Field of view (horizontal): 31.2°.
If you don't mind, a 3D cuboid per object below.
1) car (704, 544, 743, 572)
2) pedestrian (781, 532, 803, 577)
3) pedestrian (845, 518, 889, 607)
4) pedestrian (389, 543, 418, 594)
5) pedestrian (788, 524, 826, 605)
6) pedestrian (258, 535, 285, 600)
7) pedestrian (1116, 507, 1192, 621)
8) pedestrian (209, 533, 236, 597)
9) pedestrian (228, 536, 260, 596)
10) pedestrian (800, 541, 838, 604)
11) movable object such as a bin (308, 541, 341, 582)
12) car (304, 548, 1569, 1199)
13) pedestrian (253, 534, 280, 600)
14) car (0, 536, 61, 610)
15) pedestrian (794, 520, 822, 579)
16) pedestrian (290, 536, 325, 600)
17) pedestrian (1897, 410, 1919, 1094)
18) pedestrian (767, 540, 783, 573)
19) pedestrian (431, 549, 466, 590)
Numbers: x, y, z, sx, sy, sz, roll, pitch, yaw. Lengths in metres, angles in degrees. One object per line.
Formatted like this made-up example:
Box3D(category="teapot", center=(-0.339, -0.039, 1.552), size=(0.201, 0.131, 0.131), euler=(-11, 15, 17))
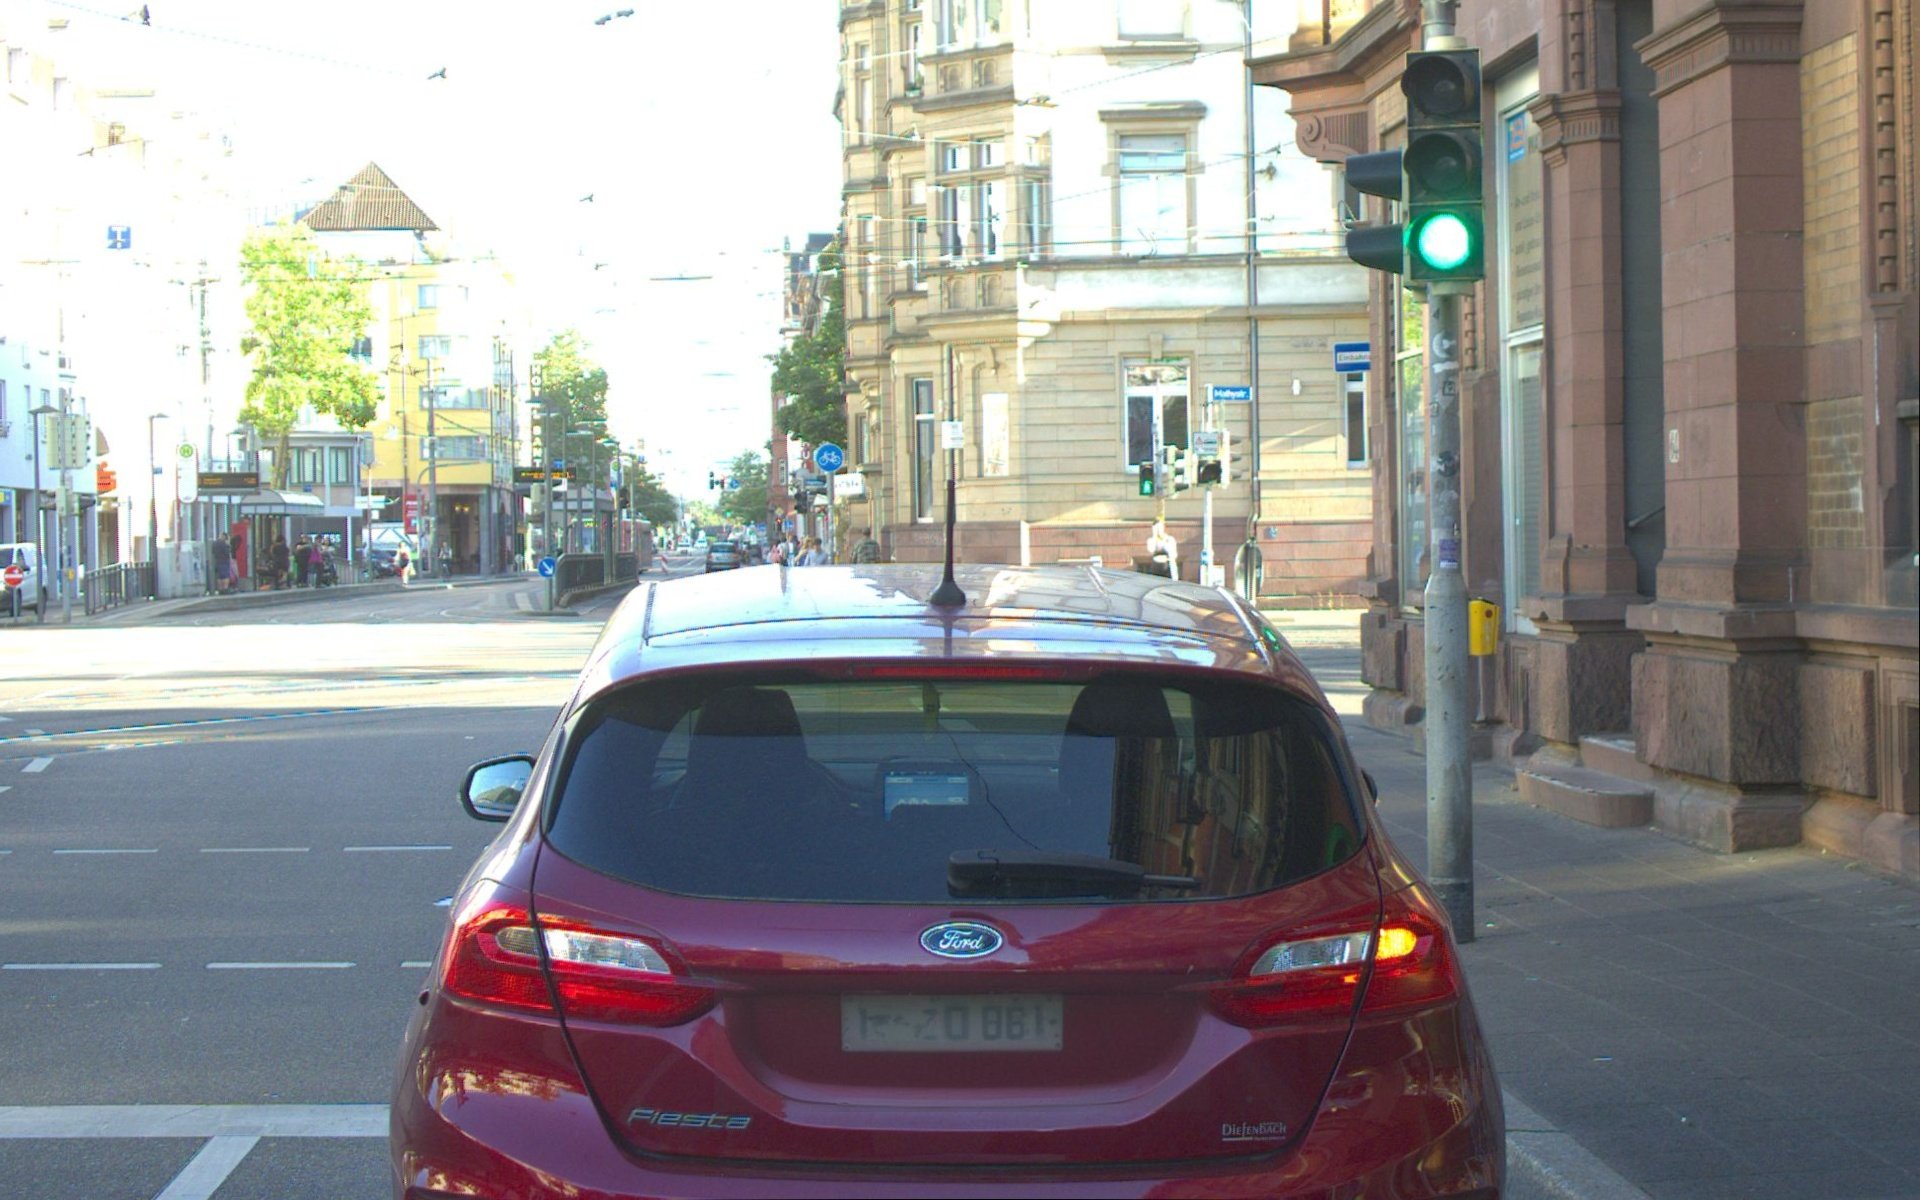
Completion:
Box3D(category="car", center=(-12.316, -2.206, 179.303), size=(1.993, 1.444, 4.001), euler=(0, 1, -4))
Box3D(category="pedestrian", center=(-6.822, -1.830, 139.545), size=(0.713, 1.768, 0.773), euler=(-4, 2, -7))
Box3D(category="pedestrian", center=(-1.952, -0.790, 72.005), size=(0.800, 1.817, 0.798), euler=(-3, 2, -4))
Box3D(category="pedestrian", center=(-20.881, -1.166, 129.002), size=(0.878, 1.898, 0.935), euler=(-1, 0, -19))
Box3D(category="pedestrian", center=(-3.326, -0.773, 74.654), size=(0.717, 1.715, 0.797), euler=(-2, 0, -5))
Box3D(category="pedestrian", center=(-20.217, -0.962, 100.897), size=(0.695, 1.898, 0.672), euler=(-1, 0, -6))
Box3D(category="pedestrian", center=(3.125, -0.583, 55.453), size=(1.023, 1.800, 1.083), euler=(-1, 1, -7))
Box3D(category="pedestrian", center=(-19.377, -0.917, 90.327), size=(0.598, 1.686, 0.613), euler=(-1, 0, -3))
Box3D(category="pedestrian", center=(-20.102, -0.952, 96.472), size=(0.695, 1.685, 0.672), euler=(-1, 1, -27))
Box3D(category="pedestrian", center=(-3.021, -0.588, 73.701), size=(0.717, 1.327, 0.797), euler=(-2, 0, -5))
Box3D(category="movable object such as a bin", center=(-20.161, -1.212, 109.037), size=(0.937, 1.282, 0.935), euler=(-1, 0, -6))
Box3D(category="car", center=(-0.090, 0.670, 6.423), size=(1.692, 1.490, 3.580), euler=(1, 1, -2))
Box3D(category="pedestrian", center=(-20.244, -0.958, 100.307), size=(0.695, 1.898, 0.672), euler=(-1, 0, -6))
Box3D(category="car", center=(-24.551, -0.698, 88.015), size=(1.993, 1.831, 5.347), euler=(-1, 1, -4))
Box3D(category="pedestrian", center=(-4.691, -1.567, 106.005), size=(0.713, 1.768, 0.773), euler=(-4, 2, -7))
Box3D(category="pedestrian", center=(-19.422, -0.961, 102.417), size=(0.931, 1.898, 0.881), euler=(-1, 0, -6))
Box3D(category="pedestrian", center=(2.794, 0.378, 8.296), size=(0.775, 1.717, 0.754), euler=(-2, 1, -3))
Box3D(category="pedestrian", center=(-9.305, -2.197, 173.335), size=(0.751, 1.655, 0.650), euler=(1, 0, -1))
Box3D(category="pedestrian", center=(-24.042, -1.436, 161.476), size=(1.343, 1.898, 1.474), euler=(-1, 1, -19))
